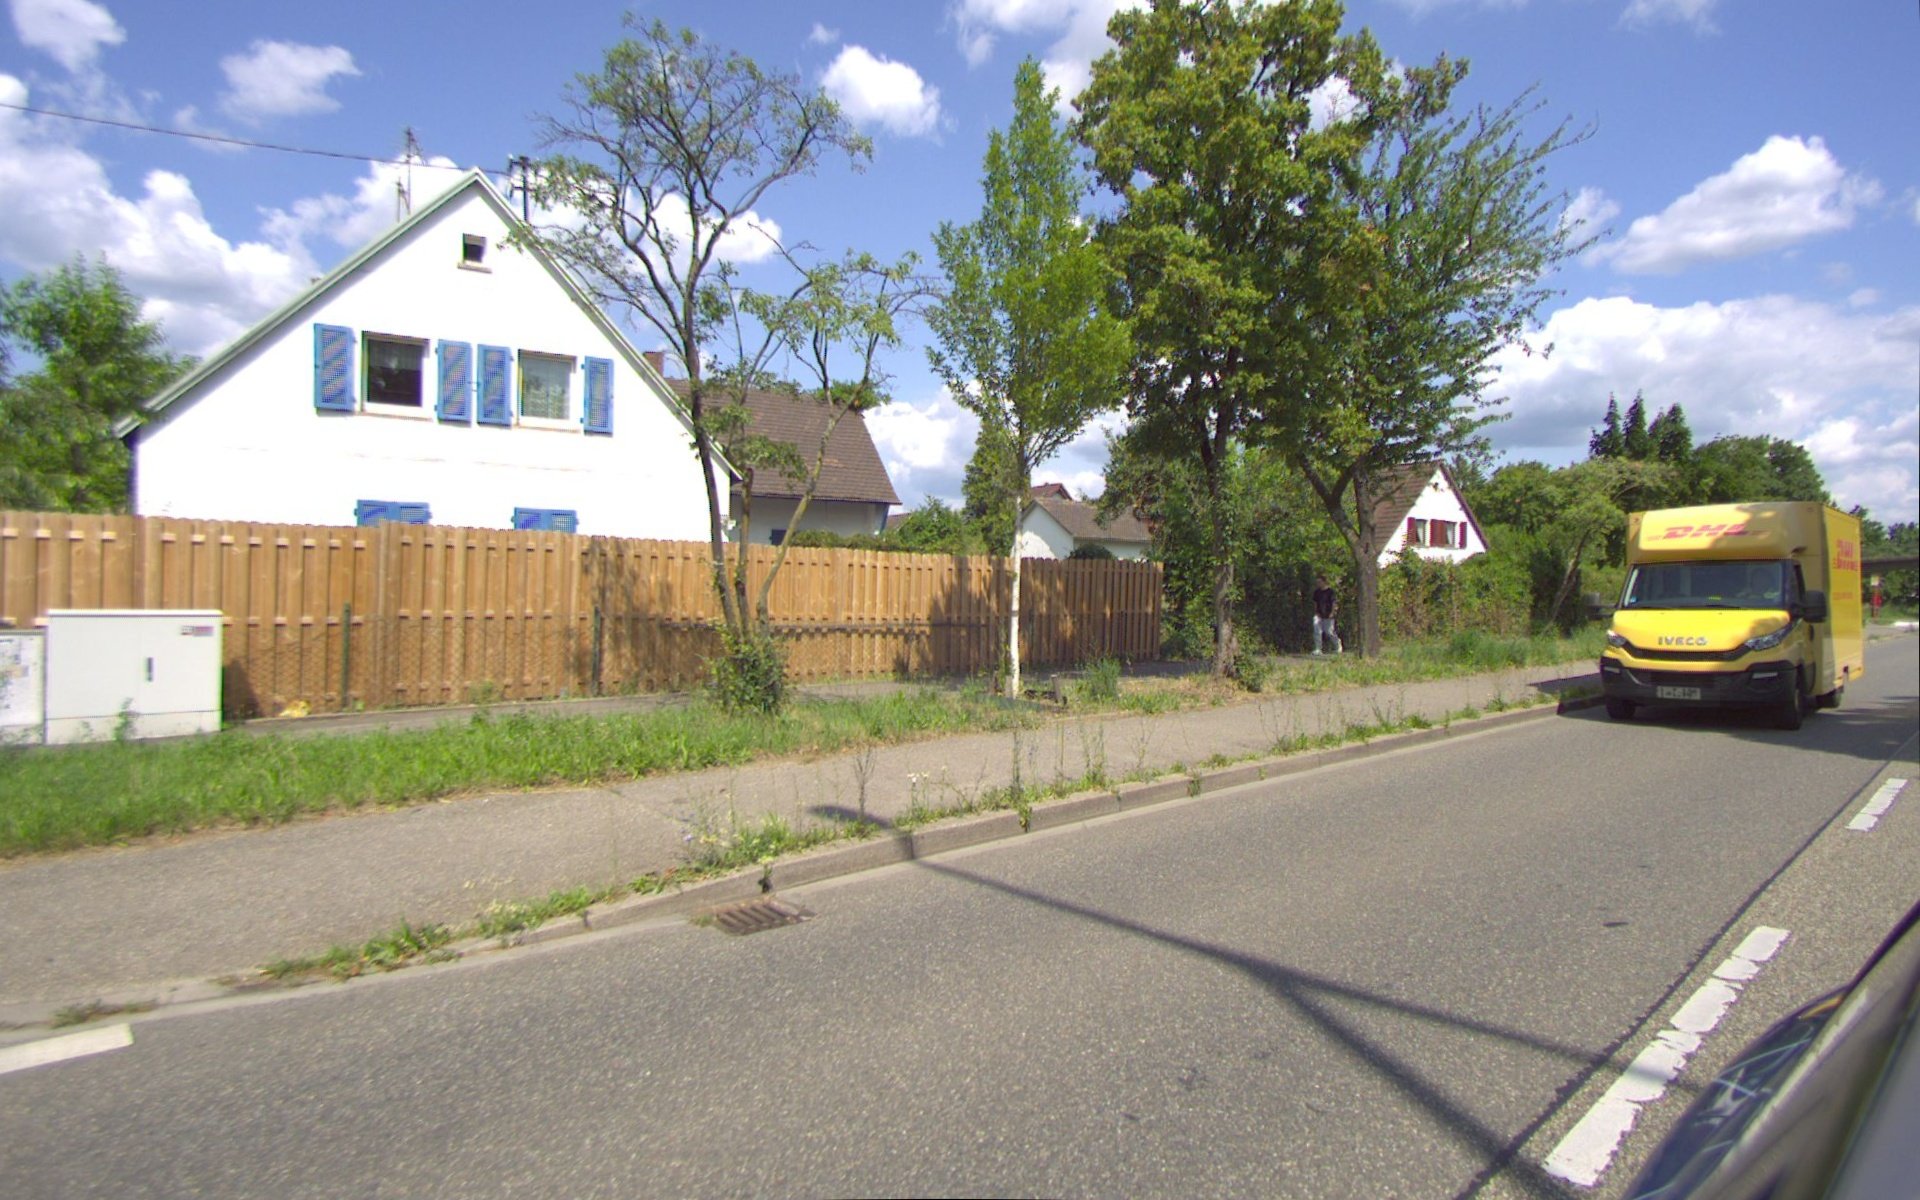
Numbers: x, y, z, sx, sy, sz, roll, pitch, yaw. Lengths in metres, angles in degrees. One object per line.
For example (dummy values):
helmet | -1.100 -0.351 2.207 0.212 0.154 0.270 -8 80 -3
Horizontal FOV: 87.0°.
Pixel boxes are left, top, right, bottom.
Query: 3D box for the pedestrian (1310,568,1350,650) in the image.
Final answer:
pedestrian | 7.895 0.184 21.597 0.623 1.698 0.560 1 0 -42

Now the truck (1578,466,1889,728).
truck | 11.585 0.021 14.803 7.890 2.917 2.267 1 -1 -43
